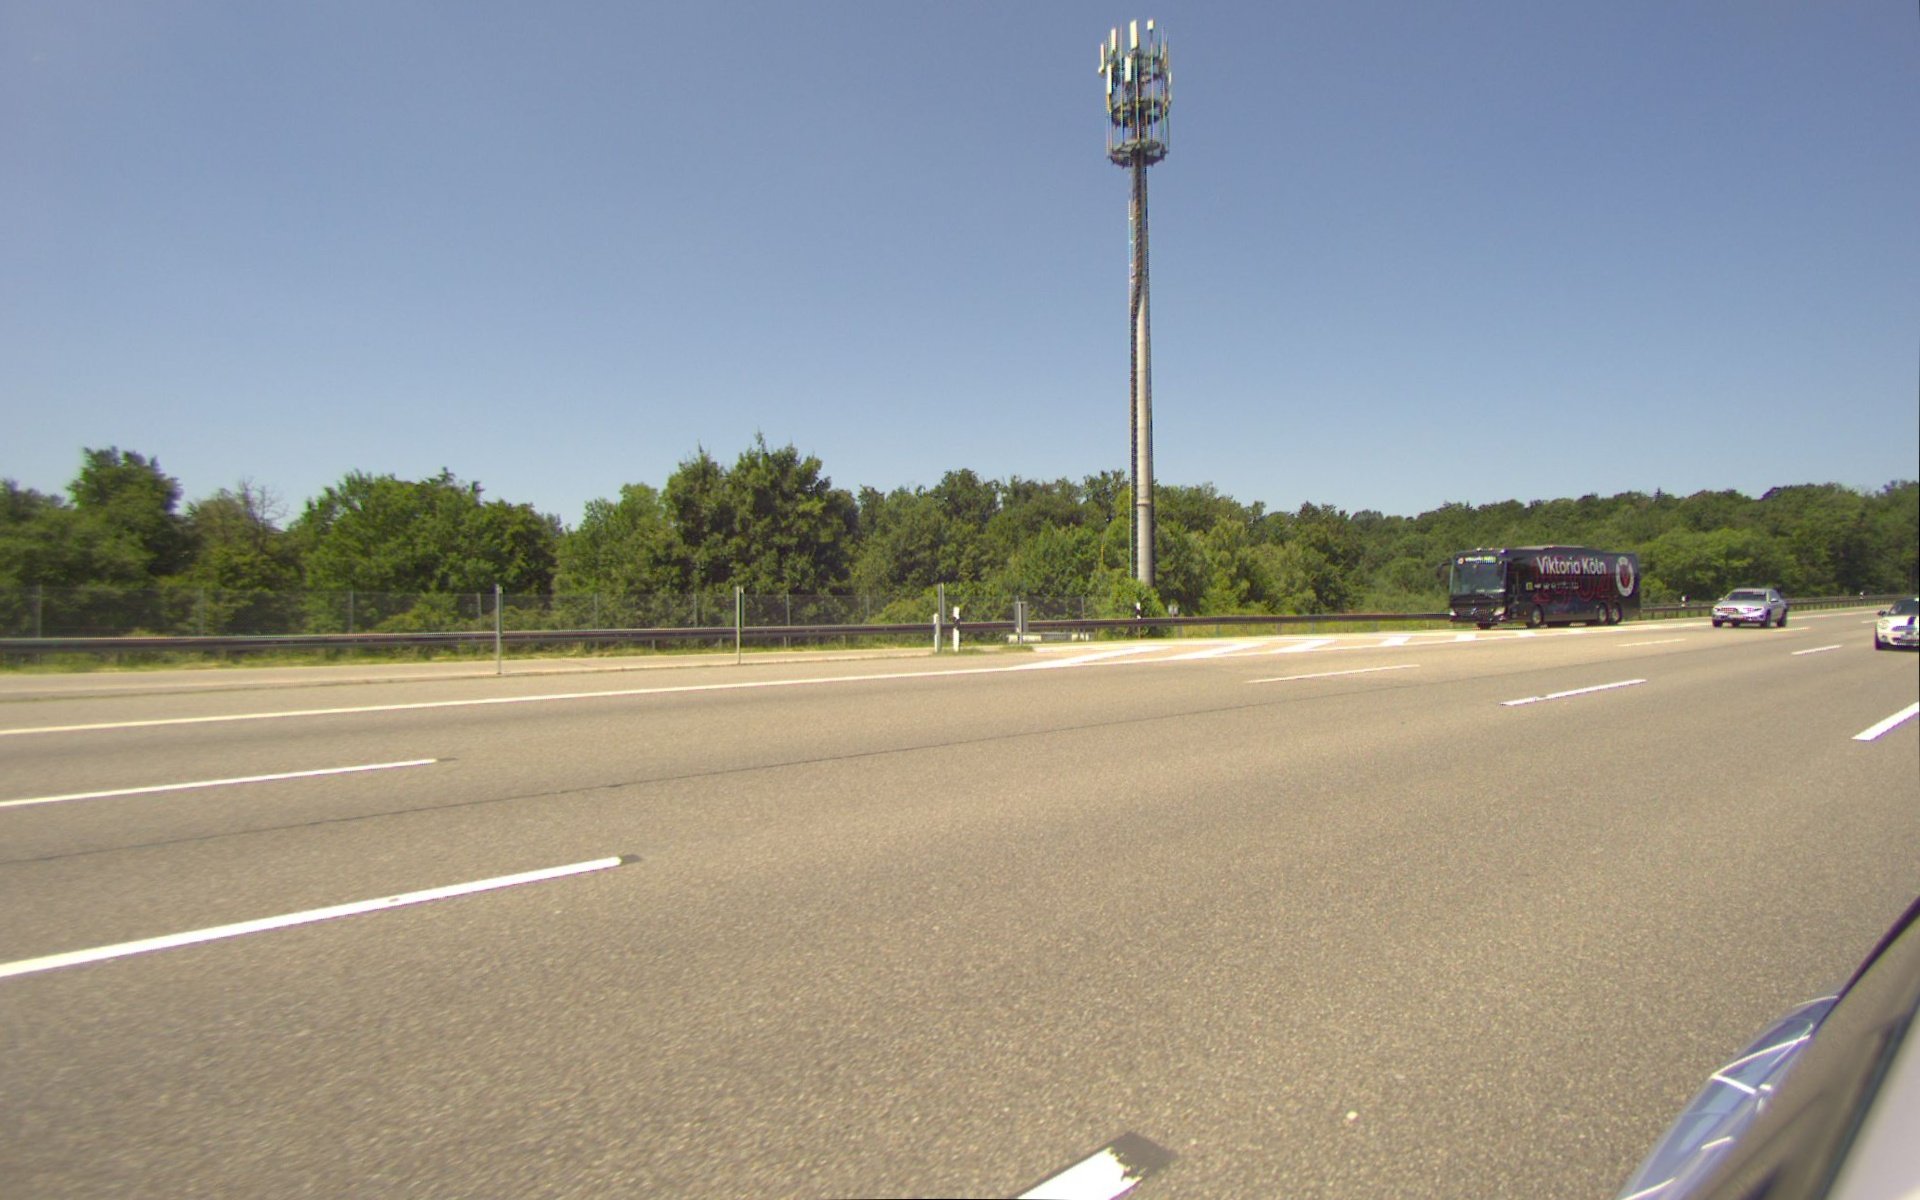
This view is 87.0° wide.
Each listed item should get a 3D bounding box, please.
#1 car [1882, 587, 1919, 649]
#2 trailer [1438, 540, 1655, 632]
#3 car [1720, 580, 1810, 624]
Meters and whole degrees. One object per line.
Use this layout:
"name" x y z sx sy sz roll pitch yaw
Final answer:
"car" 25.944 0.438 26.714 3.929 1.572 1.845 -1 0 -40
"trailer" 26.776 -0.705 45.740 13.282 3.734 2.867 -1 0 -34
"car" 33.956 0.095 42.646 5.143 1.753 1.805 0 -1 -38
